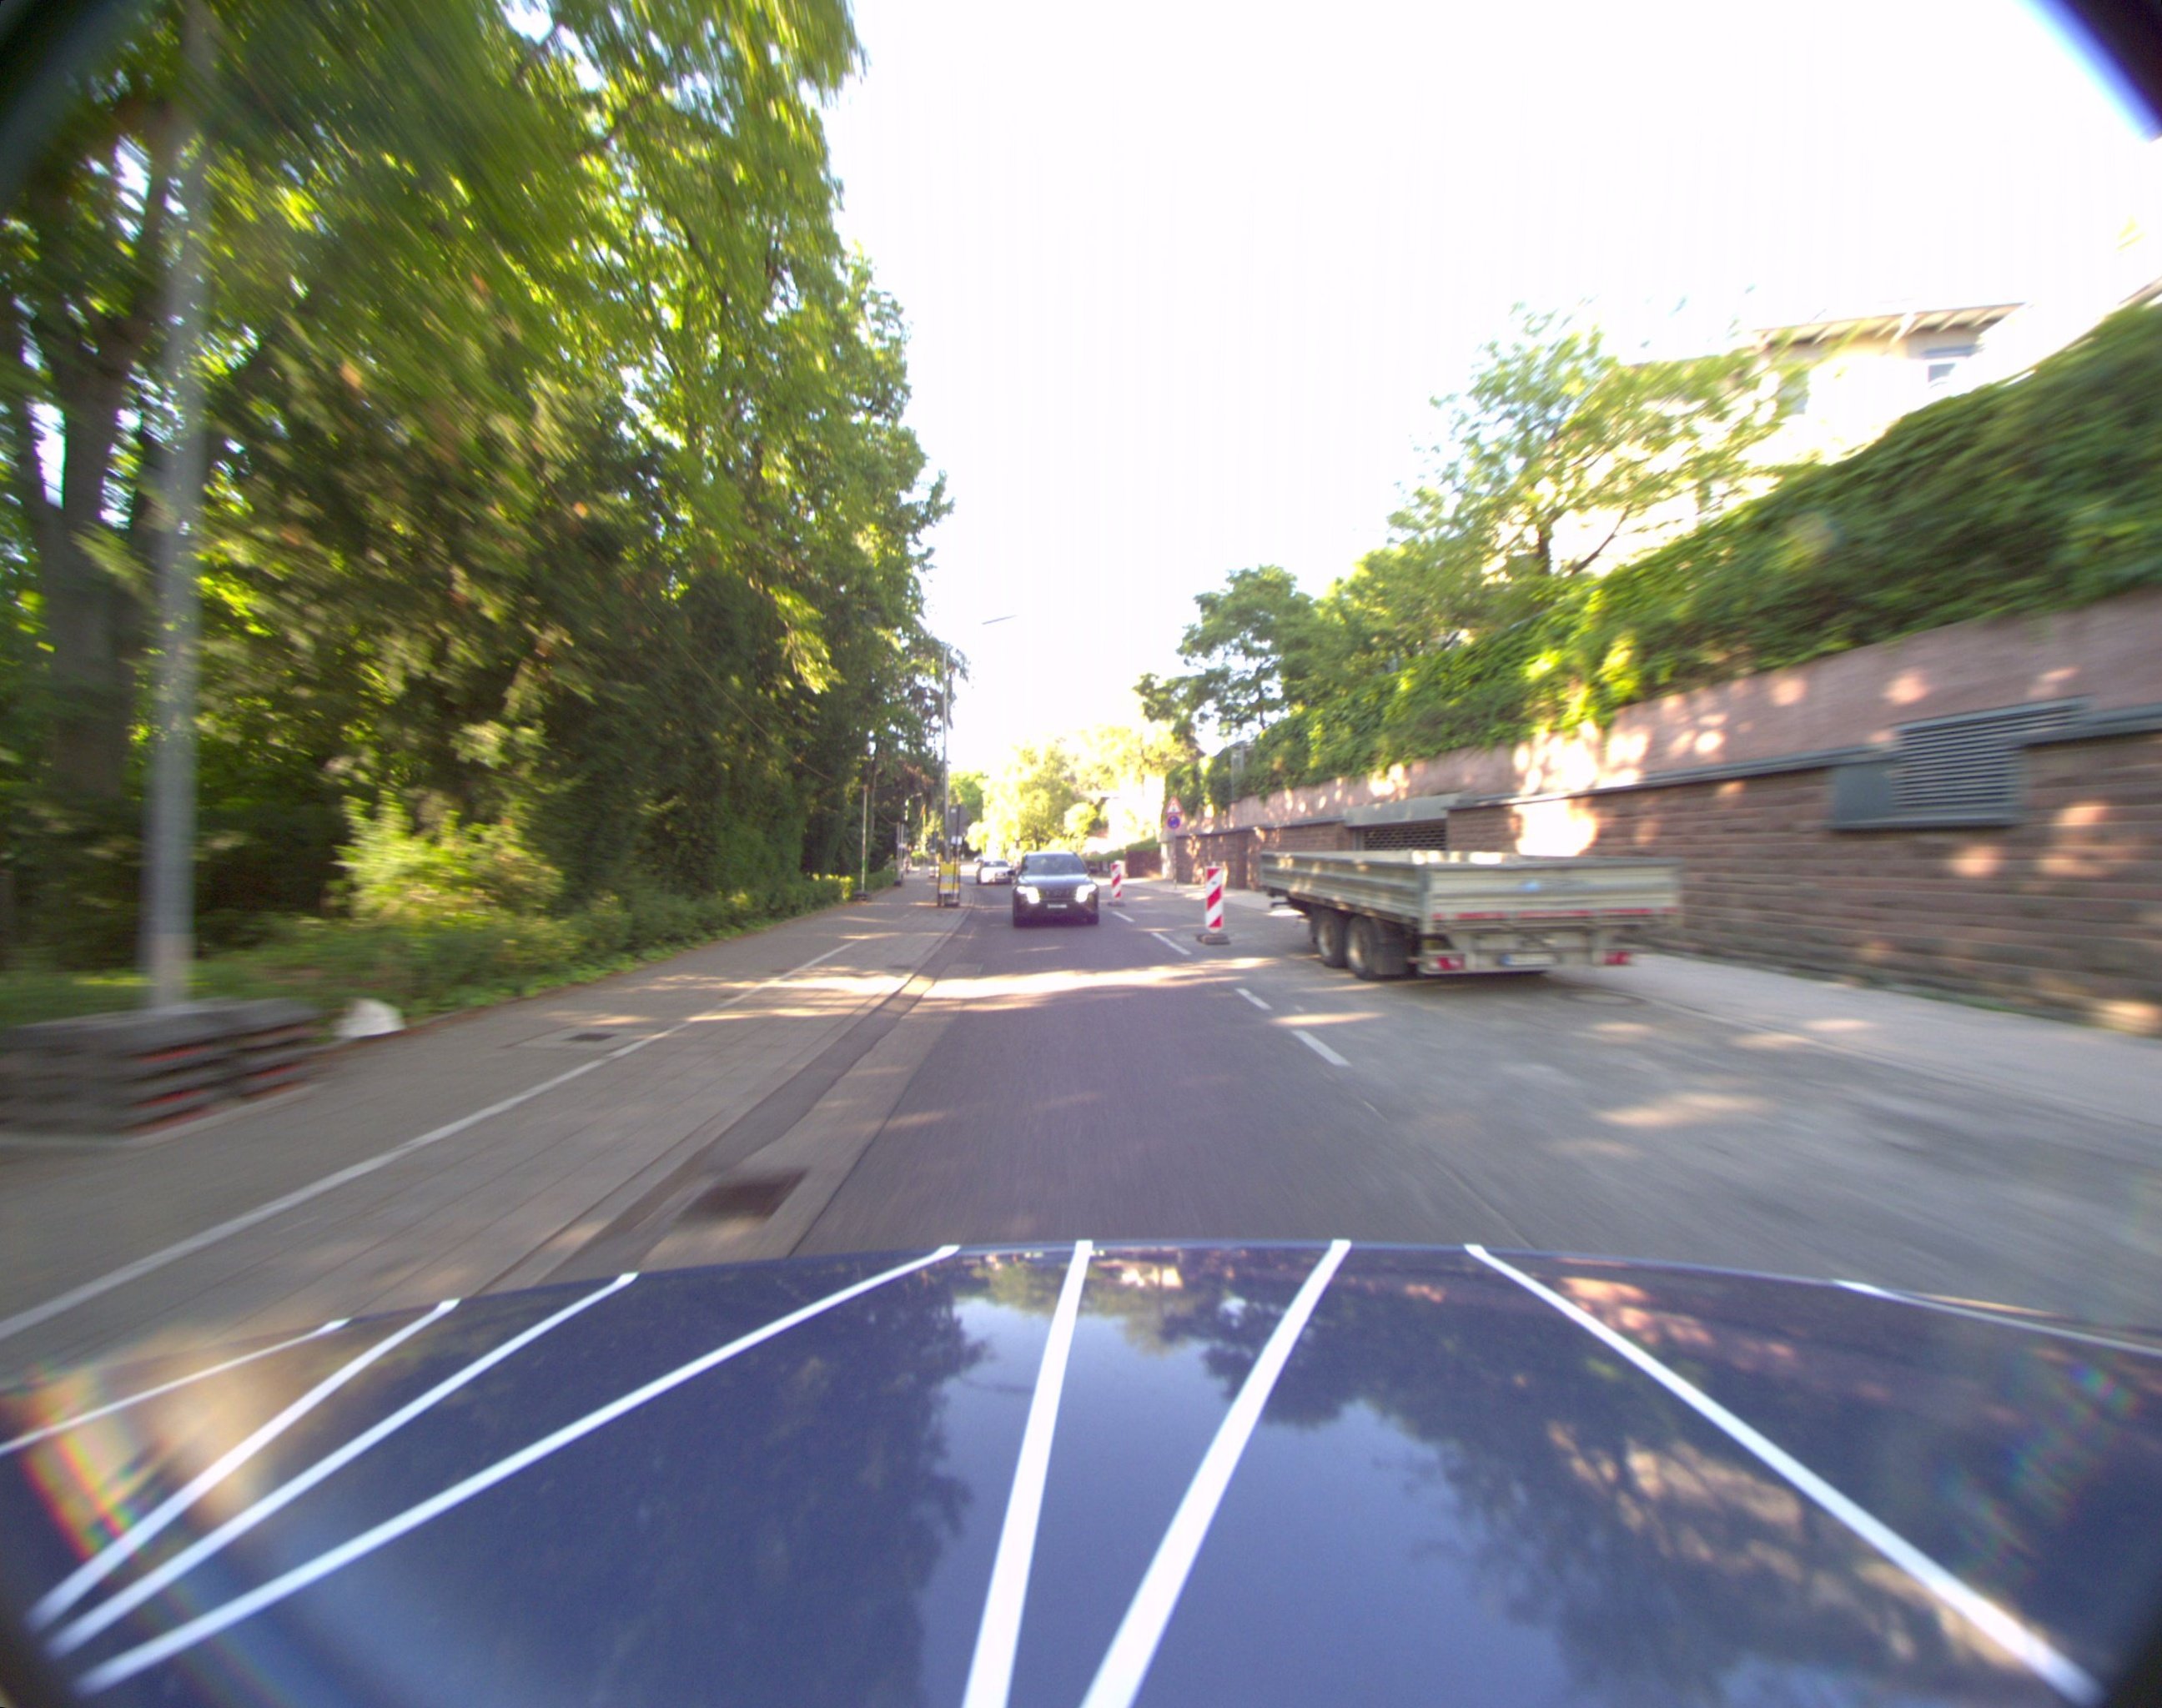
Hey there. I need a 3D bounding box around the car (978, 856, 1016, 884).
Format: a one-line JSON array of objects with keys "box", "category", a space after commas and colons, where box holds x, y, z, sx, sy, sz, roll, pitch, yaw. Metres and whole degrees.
[{"box": [-4.811, 0.873, 43.201, 1.664, 1.468, 3.678, -2, 1, -14], "category": "car"}]

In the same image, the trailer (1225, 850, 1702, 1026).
[{"box": [4.199, 0.745, 10.492, 2.647, 1.481, 7.115, -2, 1, -3], "category": "trailer"}]

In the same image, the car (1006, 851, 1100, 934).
[{"box": [-0.797, 0.783, 17.949, 1.789, 1.639, 4.471, -2, 1, -7], "category": "car"}]
